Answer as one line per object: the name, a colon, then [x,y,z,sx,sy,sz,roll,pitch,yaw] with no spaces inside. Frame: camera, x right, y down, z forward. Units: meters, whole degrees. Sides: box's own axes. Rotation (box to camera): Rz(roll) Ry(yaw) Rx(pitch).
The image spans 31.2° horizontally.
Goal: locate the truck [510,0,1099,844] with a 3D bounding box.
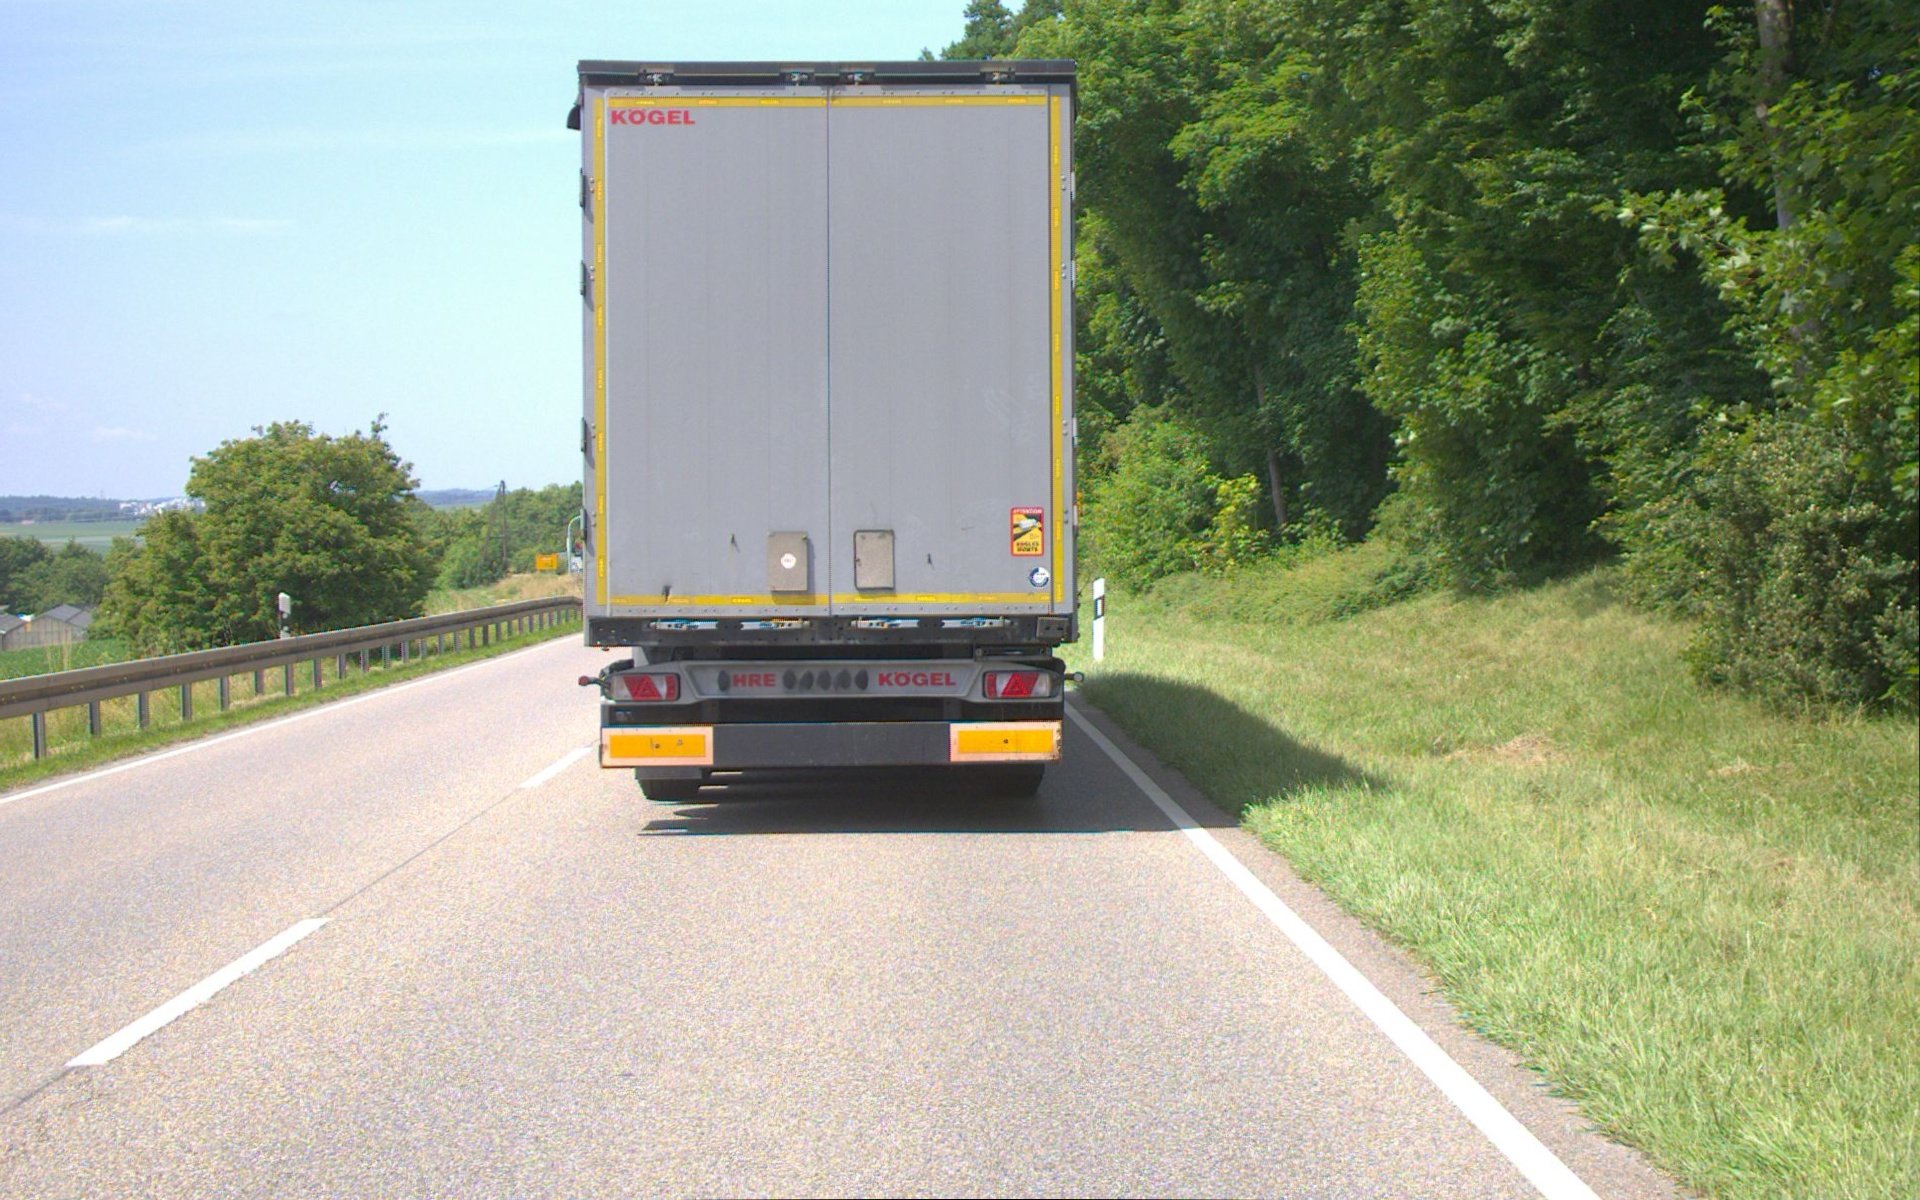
truck: [-0.880,-1.065,21.476,2.907,4.395,8.861,0,1,-1]
